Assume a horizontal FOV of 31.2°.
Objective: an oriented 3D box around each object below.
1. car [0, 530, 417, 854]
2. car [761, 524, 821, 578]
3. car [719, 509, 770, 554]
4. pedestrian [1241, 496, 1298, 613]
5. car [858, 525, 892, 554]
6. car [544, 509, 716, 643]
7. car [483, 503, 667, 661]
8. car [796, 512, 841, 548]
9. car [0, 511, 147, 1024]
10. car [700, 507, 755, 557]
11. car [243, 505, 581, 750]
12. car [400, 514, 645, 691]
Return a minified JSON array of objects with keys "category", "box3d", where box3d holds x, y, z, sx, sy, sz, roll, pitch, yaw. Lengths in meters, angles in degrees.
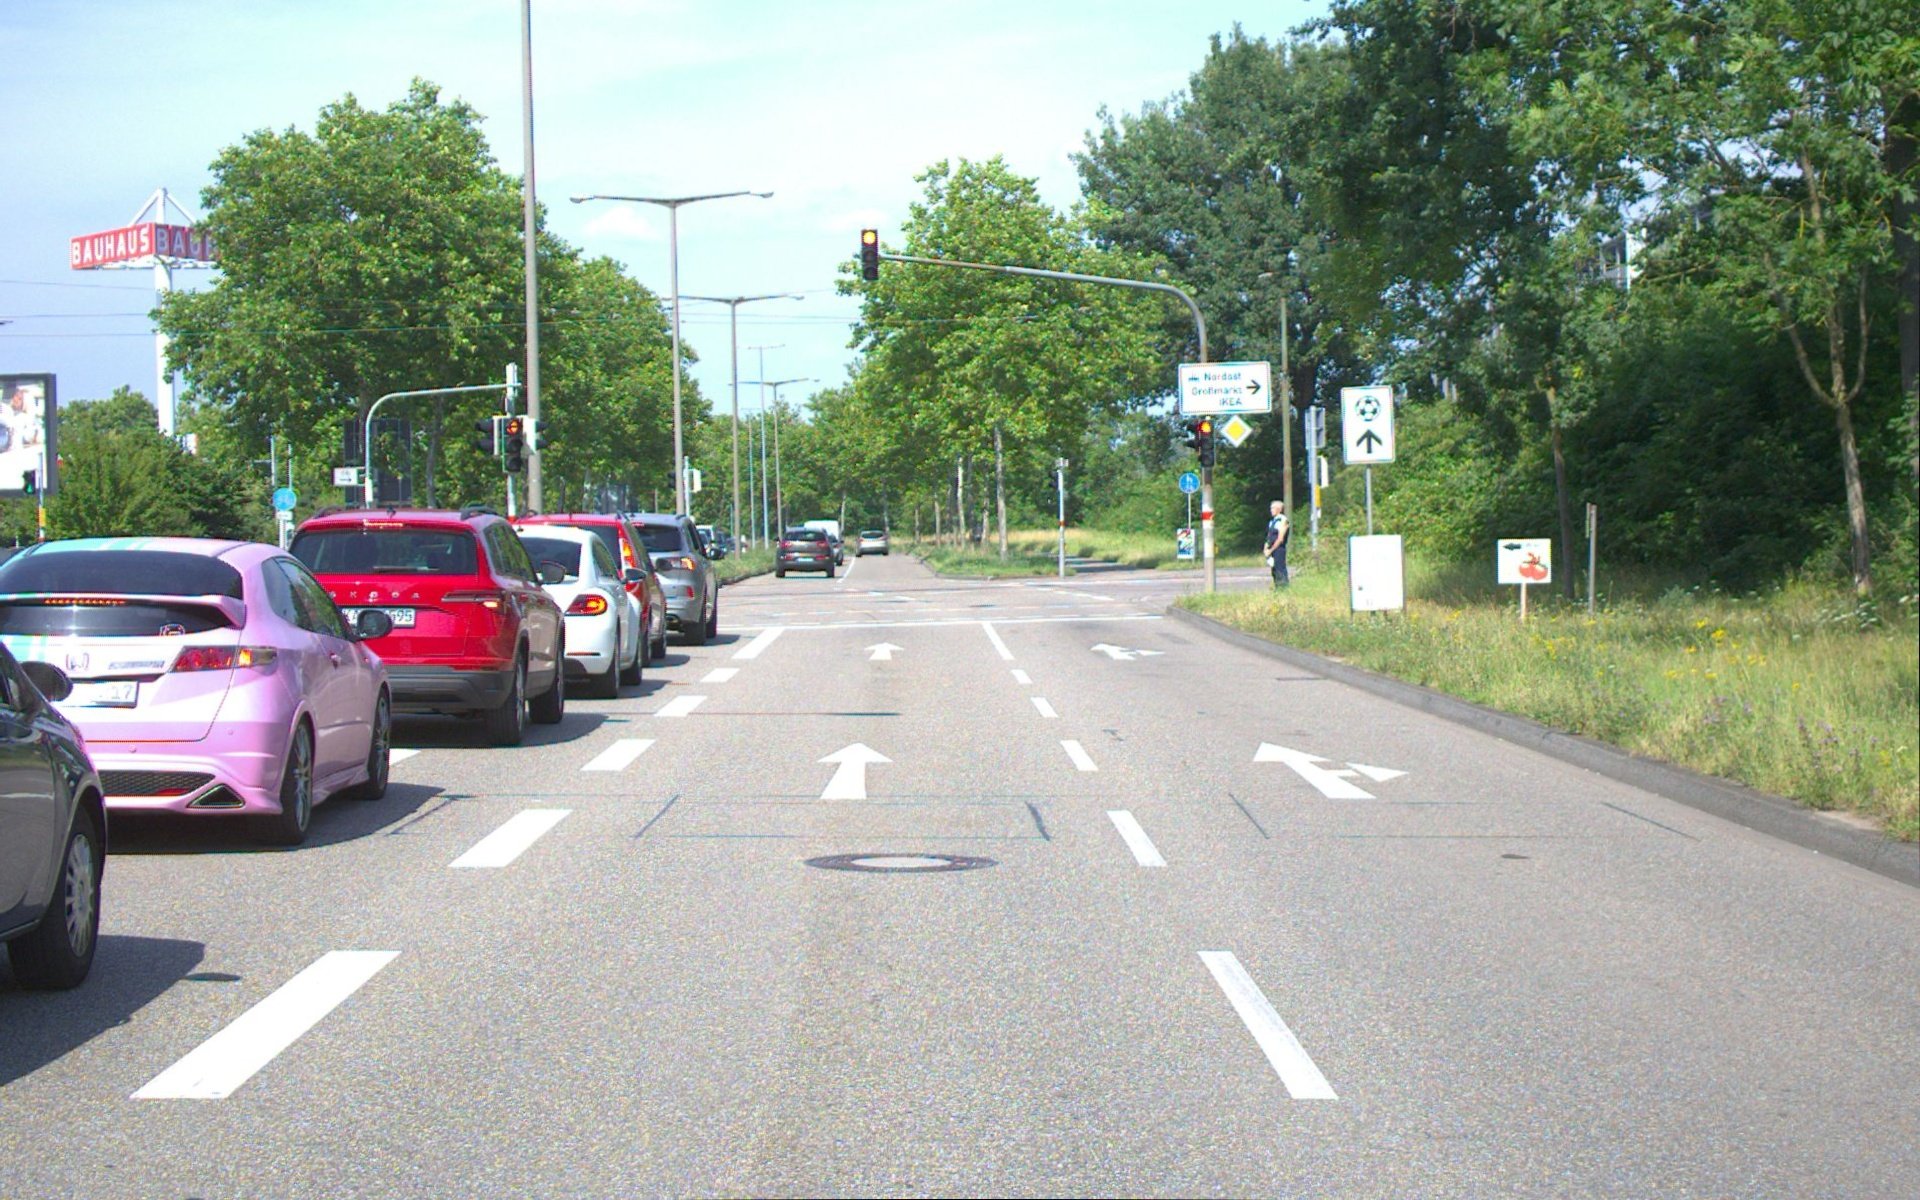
[{"category":"car","box3d":[-3.887,0.360,17.288,1.702,1.385,4.473,1,1,-1]},{"category":"car","box3d":[-5.401,-1.595,110.245,1.736,1.530,4.001,-1,3,-1]},{"category":"car","box3d":[-9.352,-3.002,149.407,1.993,1.889,4.376,-1,1,-1]},{"category":"pedestrian","box3d":[5.208,-0.777,57.927,0.837,1.926,0.772,-1,3,-4]},{"category":"car","box3d":[-4.864,-3.487,197.130,1.867,1.568,4.000,-2,1,-1]},{"category":"car","box3d":[-4.173,-0.336,44.004,1.881,1.612,4.213,-1,1,-1]},{"category":"car","box3d":[-4.130,-0.194,37.344,1.628,1.590,3.918,-1,0,-1]},{"category":"car","box3d":[-6.849,-3.383,166.856,1.993,1.702,4.263,-1,1,0]},{"category":"car","box3d":[-3.573,0.478,9.813,1.626,1.478,4.049,1,1,-1]},{"category":"car","box3d":[-9.101,-2.669,134.875,1.993,1.889,4.376,-1,1,-2]},{"category":"car","box3d":[-3.799,0.123,24.560,1.782,1.587,4.594,0,1,-1]},{"category":"car","box3d":[-3.853,-0.027,30.851,1.766,1.474,4.136,0,1,-1]}]
